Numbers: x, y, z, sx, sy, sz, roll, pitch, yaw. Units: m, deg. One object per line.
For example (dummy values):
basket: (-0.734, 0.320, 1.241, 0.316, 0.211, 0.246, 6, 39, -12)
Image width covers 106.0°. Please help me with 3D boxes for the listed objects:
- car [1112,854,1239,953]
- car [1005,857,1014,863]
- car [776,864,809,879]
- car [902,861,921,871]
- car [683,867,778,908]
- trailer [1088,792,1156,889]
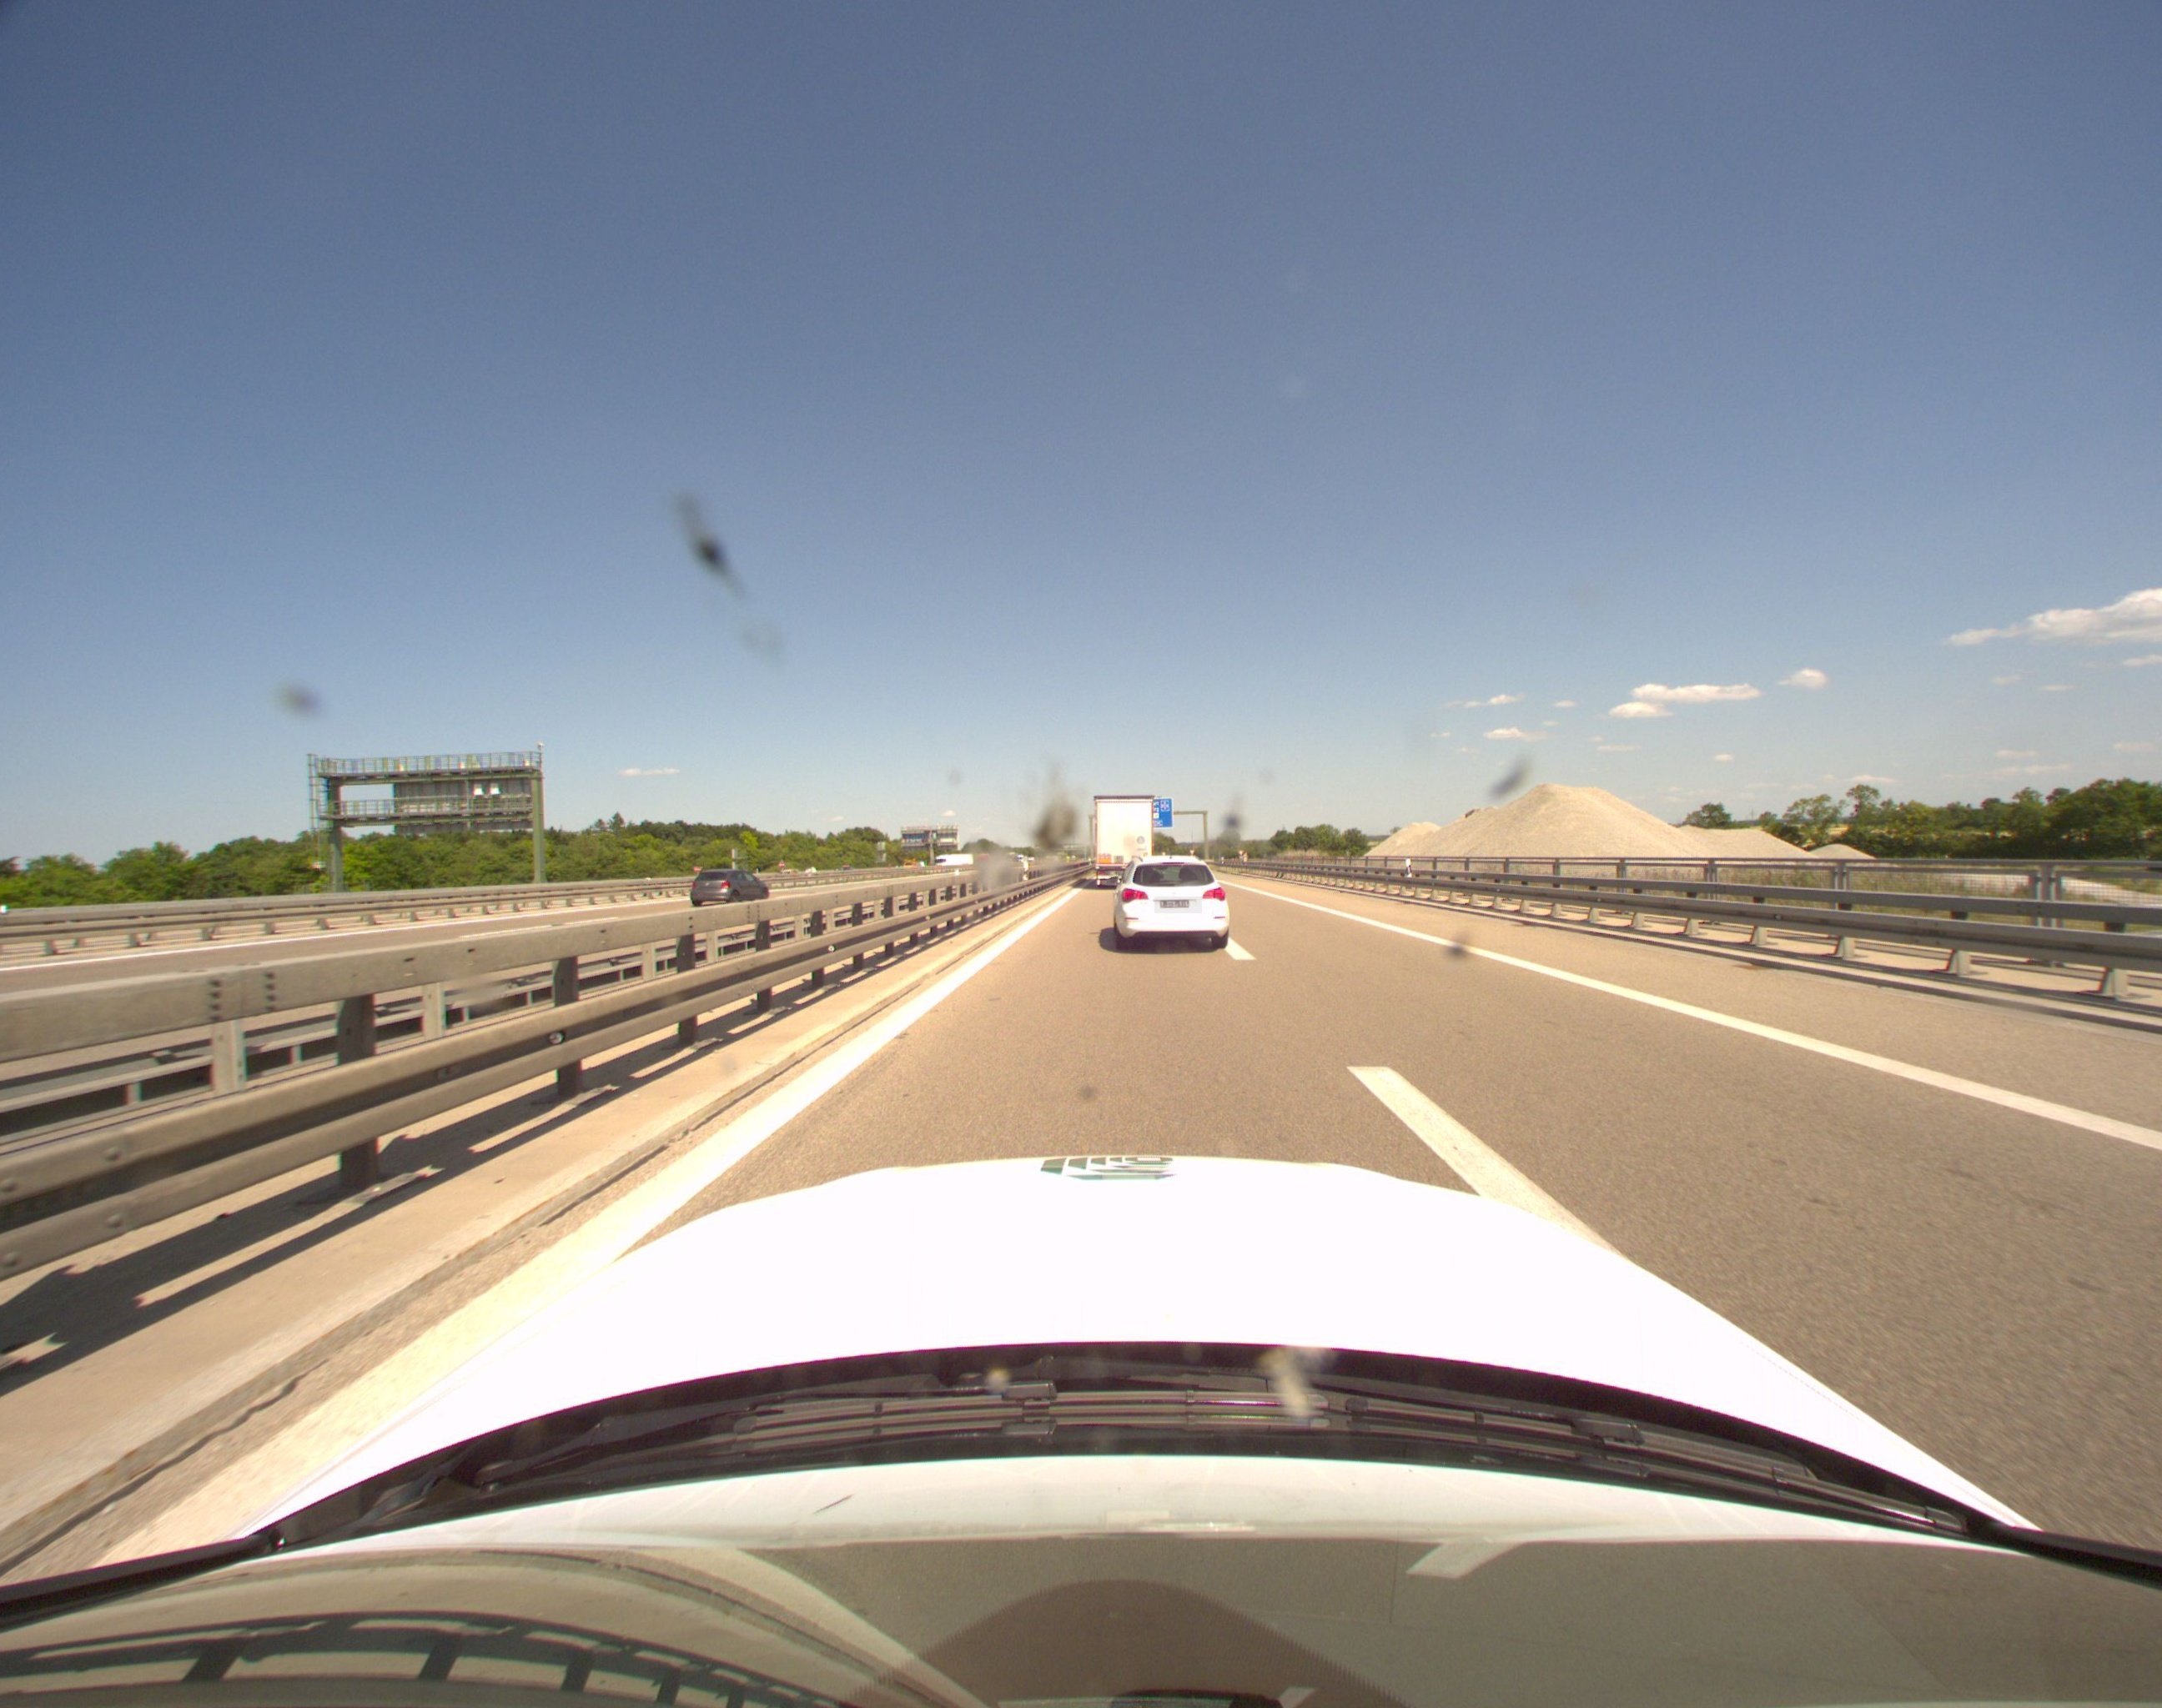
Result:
car: (1.518, 0.739, 14.225, 1.846, 1.443, 4.375, -1, 0, 3)
car: (-18.623, 1.509, 213.425, 1.781, 1.640, 4.003, -2, 0, 3)
car: (-32.231, 1.985, 91.110, 1.830, 1.517, 4.535, -2, 0, 3)
car: (-28.445, 2.026, 136.855, 1.830, 1.517, 5.302, -2, 0, 3)
car: (-13.963, 1.311, 32.705, 1.755, 1.422, 4.220, -1, 0, 3)
trailer: (2.089, -0.523, 40.738, 2.900, 4.145, 11.266, 0, -1, 3)
